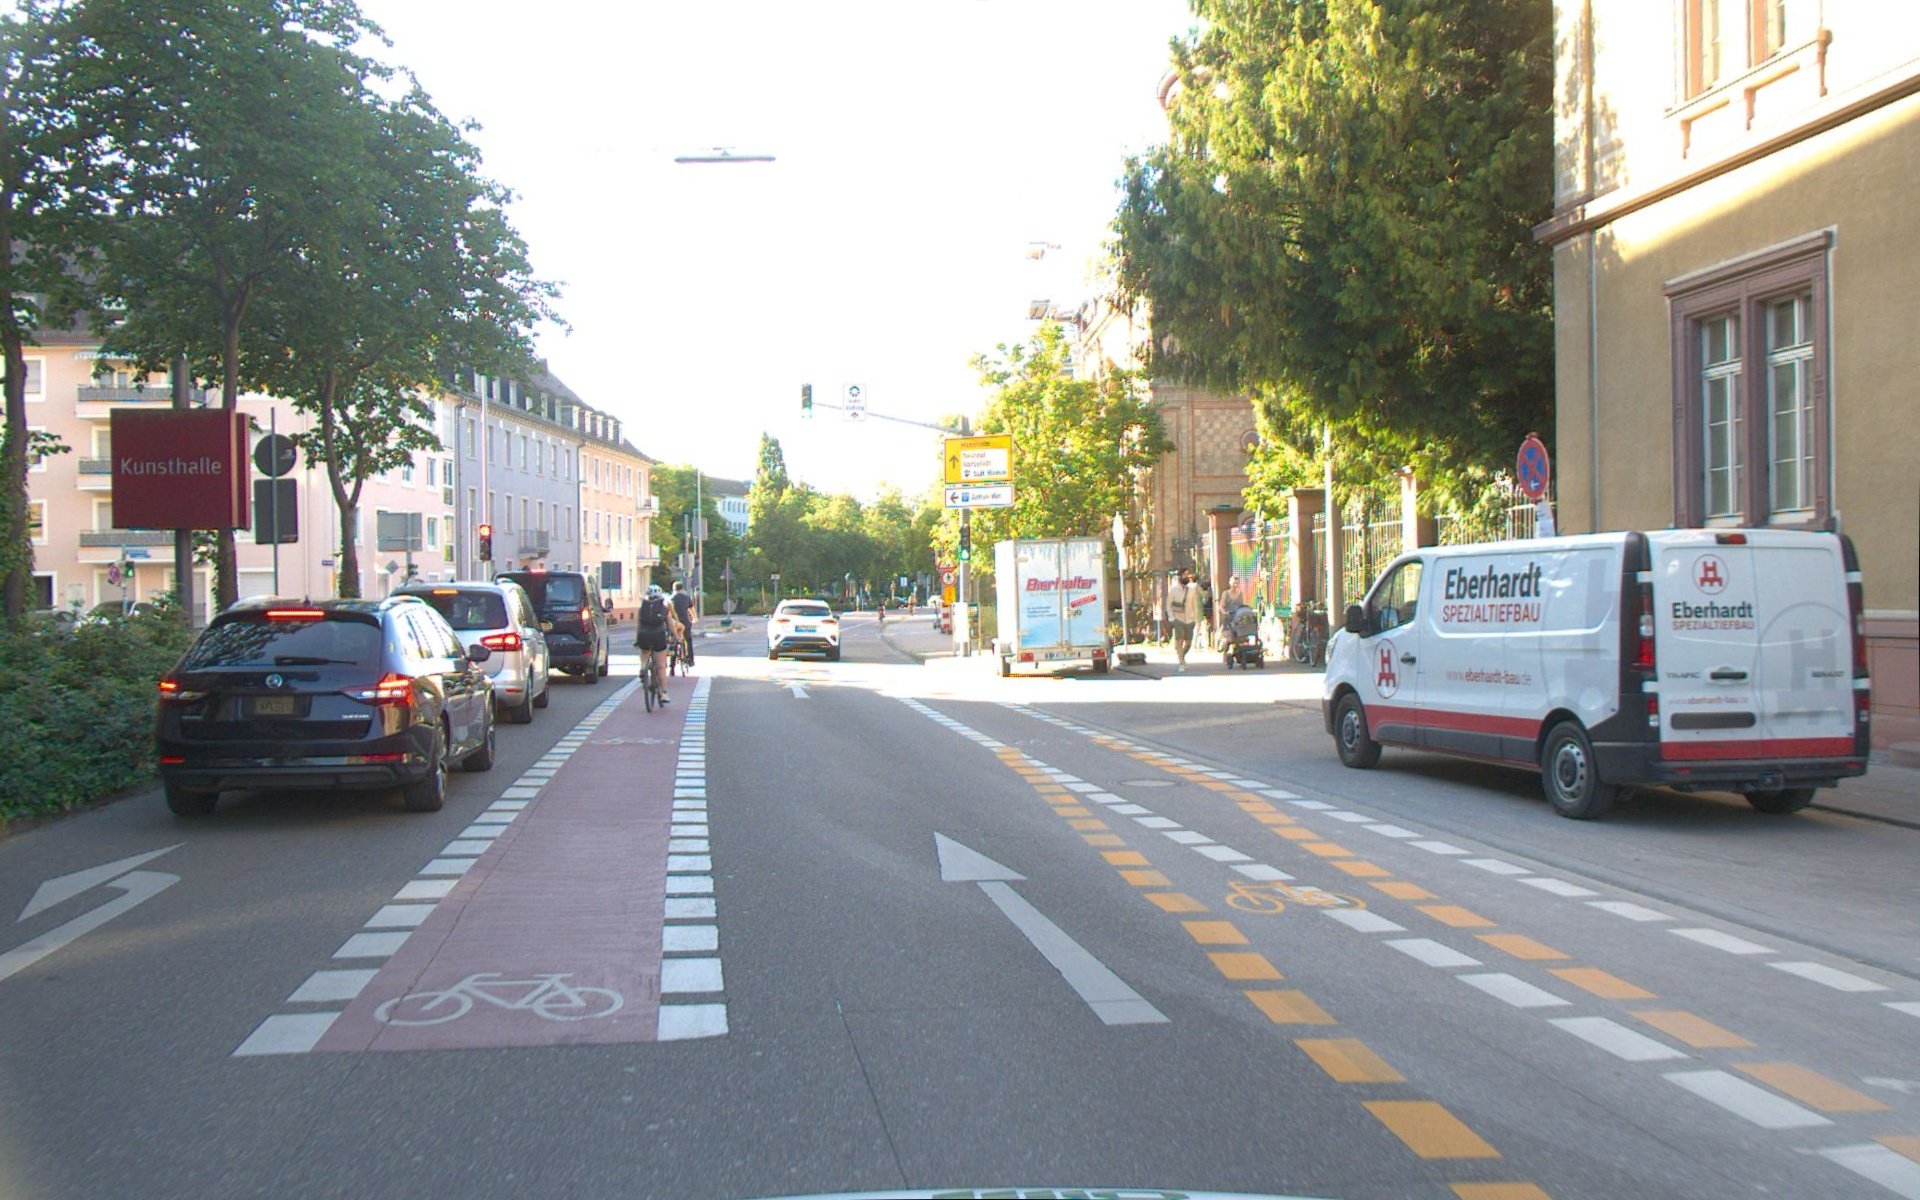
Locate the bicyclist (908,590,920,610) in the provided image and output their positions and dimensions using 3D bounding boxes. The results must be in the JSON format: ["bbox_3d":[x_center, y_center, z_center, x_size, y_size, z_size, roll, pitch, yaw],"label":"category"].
[{"bbox_3d":[-3.523,-0.002,126.392,0.731,1.564,0.970,-1,0,8],"label":"bicyclist"}]

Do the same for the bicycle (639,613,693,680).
[{"bbox_3d":[-5.403,0.838,30.483,0.812,1.163,1.967,0,0,-5],"label":"bicycle"}]

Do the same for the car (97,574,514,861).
[{"bbox_3d":[-4.628,0.699,12.490,1.957,1.686,4.725,-1,0,-10],"label":"car"}]

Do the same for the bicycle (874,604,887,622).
[{"bbox_3d":[-4.737,0.766,98.807,0.630,1.042,2.213,0,0,1],"label":"bicycle"}]

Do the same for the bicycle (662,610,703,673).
[{"bbox_3d":[-5.488,0.807,32.814,0.629,1.175,2.075,0,0,-5],"label":"bicycle"}]

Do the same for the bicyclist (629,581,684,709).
[{"bbox_3d":[-4.085,0.595,22.304,0.660,1.681,0.886,0,0,-7],"label":"bicyclist"}]

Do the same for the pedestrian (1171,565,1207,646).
[{"bbox_3d":[5.172,0.118,37.383,0.626,1.799,0.737,-1,0,-5],"label":"pedestrian"}]

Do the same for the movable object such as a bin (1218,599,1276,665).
[{"bbox_3d":[5.241,0.578,30.269,0.698,1.137,1.048,-3,1,-9],"label":"movable object such as a bin"}]

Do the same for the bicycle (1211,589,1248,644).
[{"bbox_3d":[5.774,0.334,35.496,0.391,1.125,1.679,-3,1,-3],"label":"bicycle"}]

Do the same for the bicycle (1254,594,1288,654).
[{"bbox_3d":[6.145,0.460,32.750,0.268,1.125,1.531,-3,1,-3],"label":"bicycle"}]

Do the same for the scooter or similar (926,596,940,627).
[{"bbox_3d":[-1.179,0.494,72.076,0.544,1.331,1.832,-1,1,0],"label":"scooter or similar"}]

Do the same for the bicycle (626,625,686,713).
[{"bbox_3d":[-4.078,0.903,22.254,0.656,1.091,1.750,0,0,-6],"label":"bicycle"}]

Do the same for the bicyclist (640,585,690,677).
[{"bbox_3d":[-5.410,0.554,30.394,0.787,1.636,0.824,-2,0,-5],"label":"bicyclist"}]

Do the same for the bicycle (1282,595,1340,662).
[{"bbox_3d":[6.272,0.491,29.601,0.387,1.150,1.925,-1,0,-7],"label":"bicycle"}]

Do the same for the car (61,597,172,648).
[{"bbox_3d":[-30.707,0.785,60.388,1.954,1.715,4.610,-1,1,-5],"label":"car"}]

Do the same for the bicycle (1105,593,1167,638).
[{"bbox_3d":[4.432,0.380,41.619,1.438,1.057,0.478,-2,0,-7],"label":"bicycle"}]

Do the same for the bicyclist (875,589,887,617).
[{"bbox_3d":[-4.729,0.194,98.930,0.623,1.642,1.284,0,0,1],"label":"bicyclist"}]

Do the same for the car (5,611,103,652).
[{"bbox_3d":[-32.925,1.107,60.234,1.574,1.333,3.997,-1,1,-4],"label":"car"}]

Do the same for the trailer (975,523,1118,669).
[{"bbox_3d":[1.630,-0.098,32.806,2.040,2.572,4.486,-3,1,-6],"label":"trailer"}]

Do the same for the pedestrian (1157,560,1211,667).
[{"bbox_3d":[4.124,0.240,30.482,0.702,1.927,0.888,-2,1,-10],"label":"pedestrian"}]

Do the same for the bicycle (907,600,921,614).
[{"bbox_3d":[-3.510,0.536,126.348,0.737,1.044,1.871,0,0,8],"label":"bicycle"}]

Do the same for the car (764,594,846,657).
[{"bbox_3d":[-4.061,0.626,42.787,1.956,1.478,3.993,-2,0,-7],"label":"car"}]

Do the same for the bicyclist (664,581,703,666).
[{"bbox_3d":[-5.482,0.460,32.840,0.657,1.636,0.824,-1,0,-5],"label":"bicyclist"}]

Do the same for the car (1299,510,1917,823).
[{"bbox_3d":[4.784,0.428,13.373,1.979,1.979,5.464,0,0,-12],"label":"car"}]

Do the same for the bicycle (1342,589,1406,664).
[{"bbox_3d":[6.839,0.416,27.390,0.410,1.176,1.824,-3,1,-5],"label":"bicycle"}]

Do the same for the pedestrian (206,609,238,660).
[{"bbox_3d":[-23.810,1.093,53.397,0.618,1.611,0.818,1,0,0],"label":"pedestrian"}]

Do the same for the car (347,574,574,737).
[{"bbox_3d":[-6.174,0.604,21.012,1.953,1.780,4.739,-2,1,-7],"label":"car"}]

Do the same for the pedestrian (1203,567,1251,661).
[{"bbox_3d":[5.039,0.258,31.206,0.669,1.731,0.692,-2,1,-8],"label":"pedestrian"}]

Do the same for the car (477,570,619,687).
[{"bbox_3d":[-7.623,0.500,31.075,2.029,1.949,5.024,-2,0,-8],"label":"car"}]

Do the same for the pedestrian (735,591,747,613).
[{"bbox_3d":[-19.648,0.194,148.269,0.837,1.883,1.002,-2,0,7],"label":"pedestrian"}]
